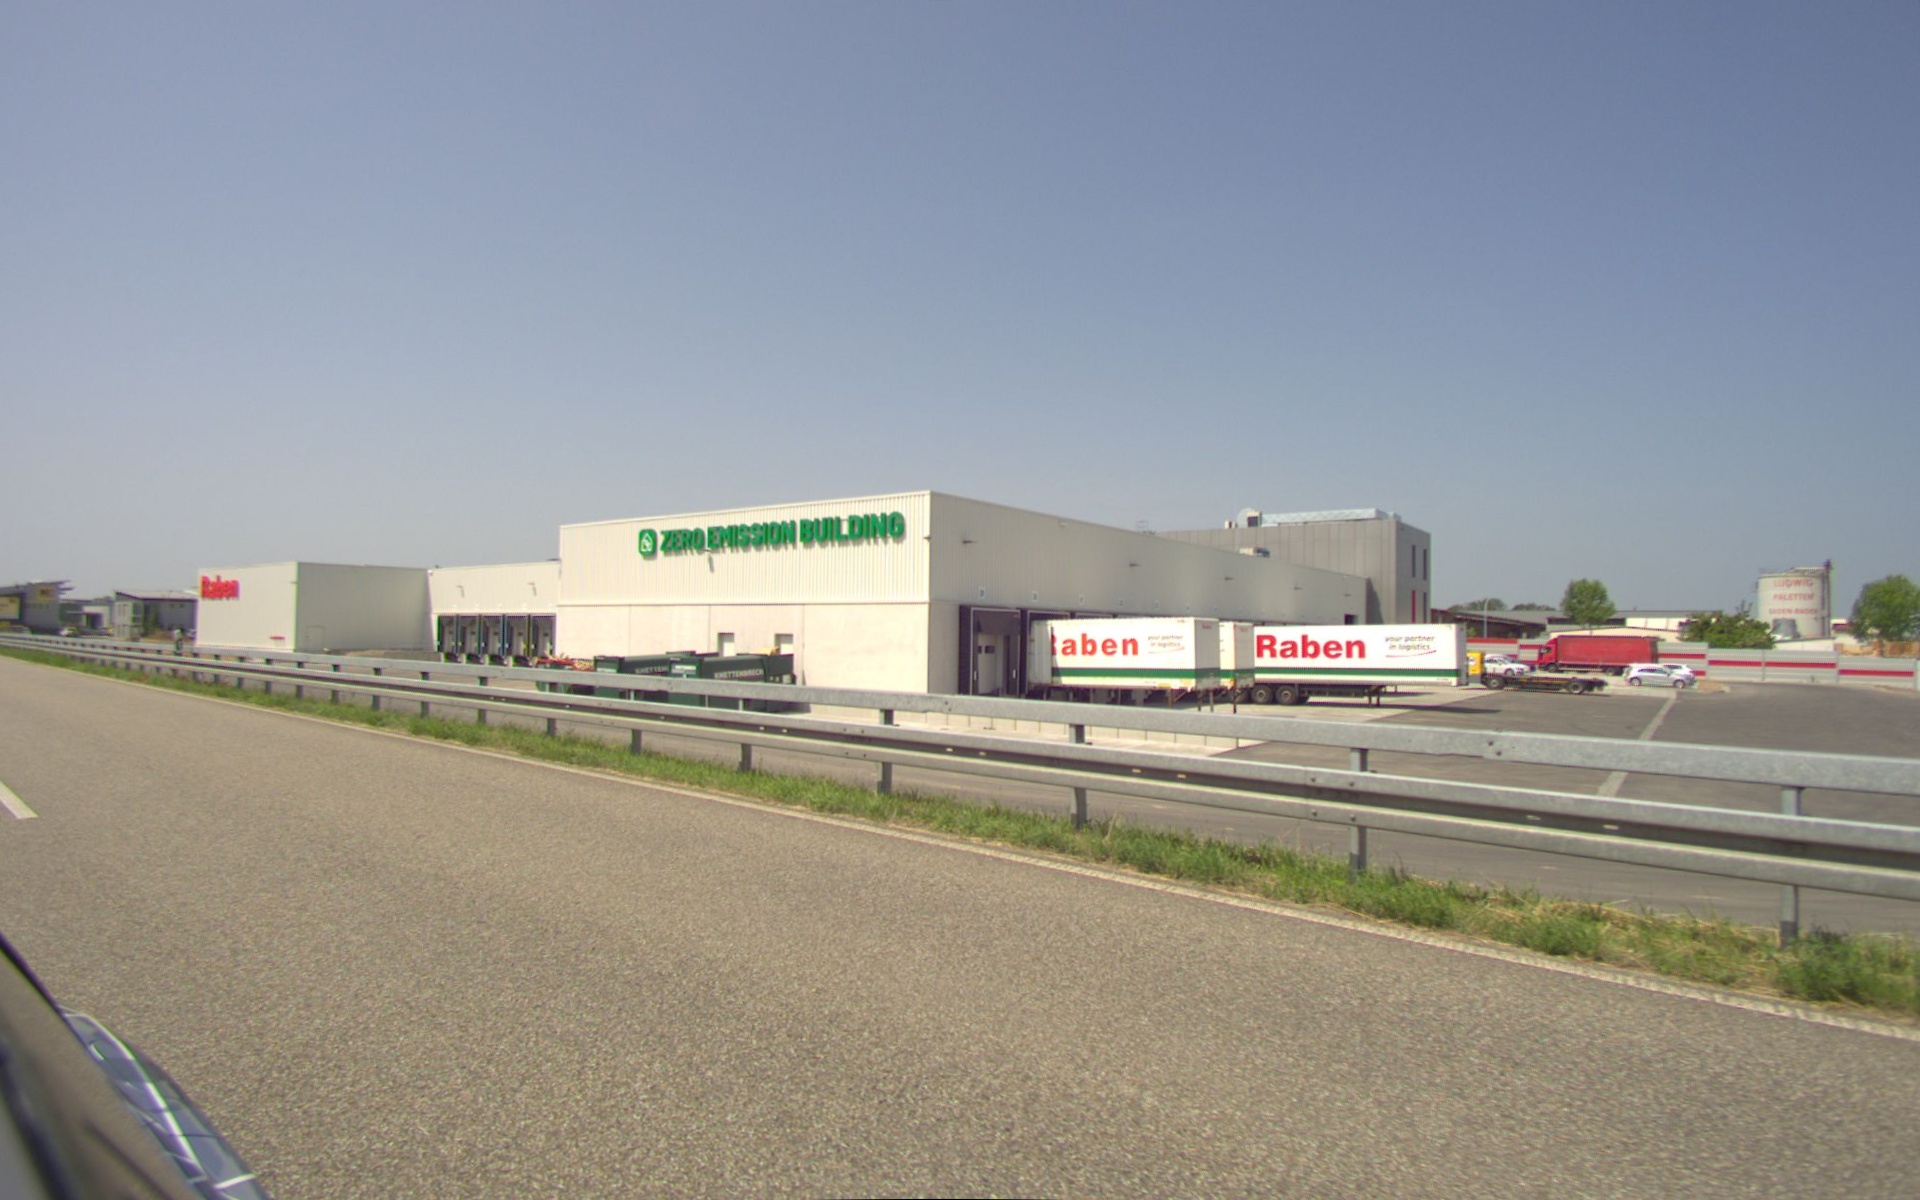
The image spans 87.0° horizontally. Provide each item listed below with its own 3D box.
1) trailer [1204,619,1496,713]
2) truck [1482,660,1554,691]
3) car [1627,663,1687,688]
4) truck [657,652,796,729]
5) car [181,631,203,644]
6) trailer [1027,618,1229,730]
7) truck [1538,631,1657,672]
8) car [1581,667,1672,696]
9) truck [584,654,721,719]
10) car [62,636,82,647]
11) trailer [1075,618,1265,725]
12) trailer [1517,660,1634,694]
[{"bbox_3d":[19.074,3.195,50.586,13.364,4.237,2.638,-2,-3,37],"label":"trailer"},{"bbox_3d":[38.108,5.142,69.164,3.995,2.029,1.974,-2,-5,39],"label":"truck"},{"bbox_3d":[51.521,5.578,74.876,3.547,1.739,1.423,-1,-5,31],"label":"car"},{"bbox_3d":[-8.996,3.432,39.383,2.269,2.556,4.998,-1,-1,36],"label":"truck"},{"bbox_3d":[-124.941,6.025,164.649,3.997,2.029,1.973,-1,0,40],"label":"car"},{"bbox_3d":[6.617,2.791,40.488,7.566,4.018,2.639,0,-1,36],"label":"trailer"},{"bbox_3d":[57.608,4.648,91.664,1.969,3.534,8.900,5,-5,-42],"label":"truck"},{"bbox_3d":[45.314,5.518,68.856,5.077,1.823,1.975,-1,-5,37],"label":"car"},{"bbox_3d":[-12.537,3.459,41.506,2.231,2.351,4.956,-1,-2,41],"label":"truck"},{"bbox_3d":[-134.262,6.257,152.953,3.306,1.686,1.536,-1,-3,36],"label":"car"},{"bbox_3d":[8.925,2.915,43.548,7.566,4.124,2.639,0,-1,36],"label":"trailer"},{"bbox_3d":[40.717,5.065,67.056,6.452,2.029,1.974,-2,-5,39],"label":"trailer"}]
